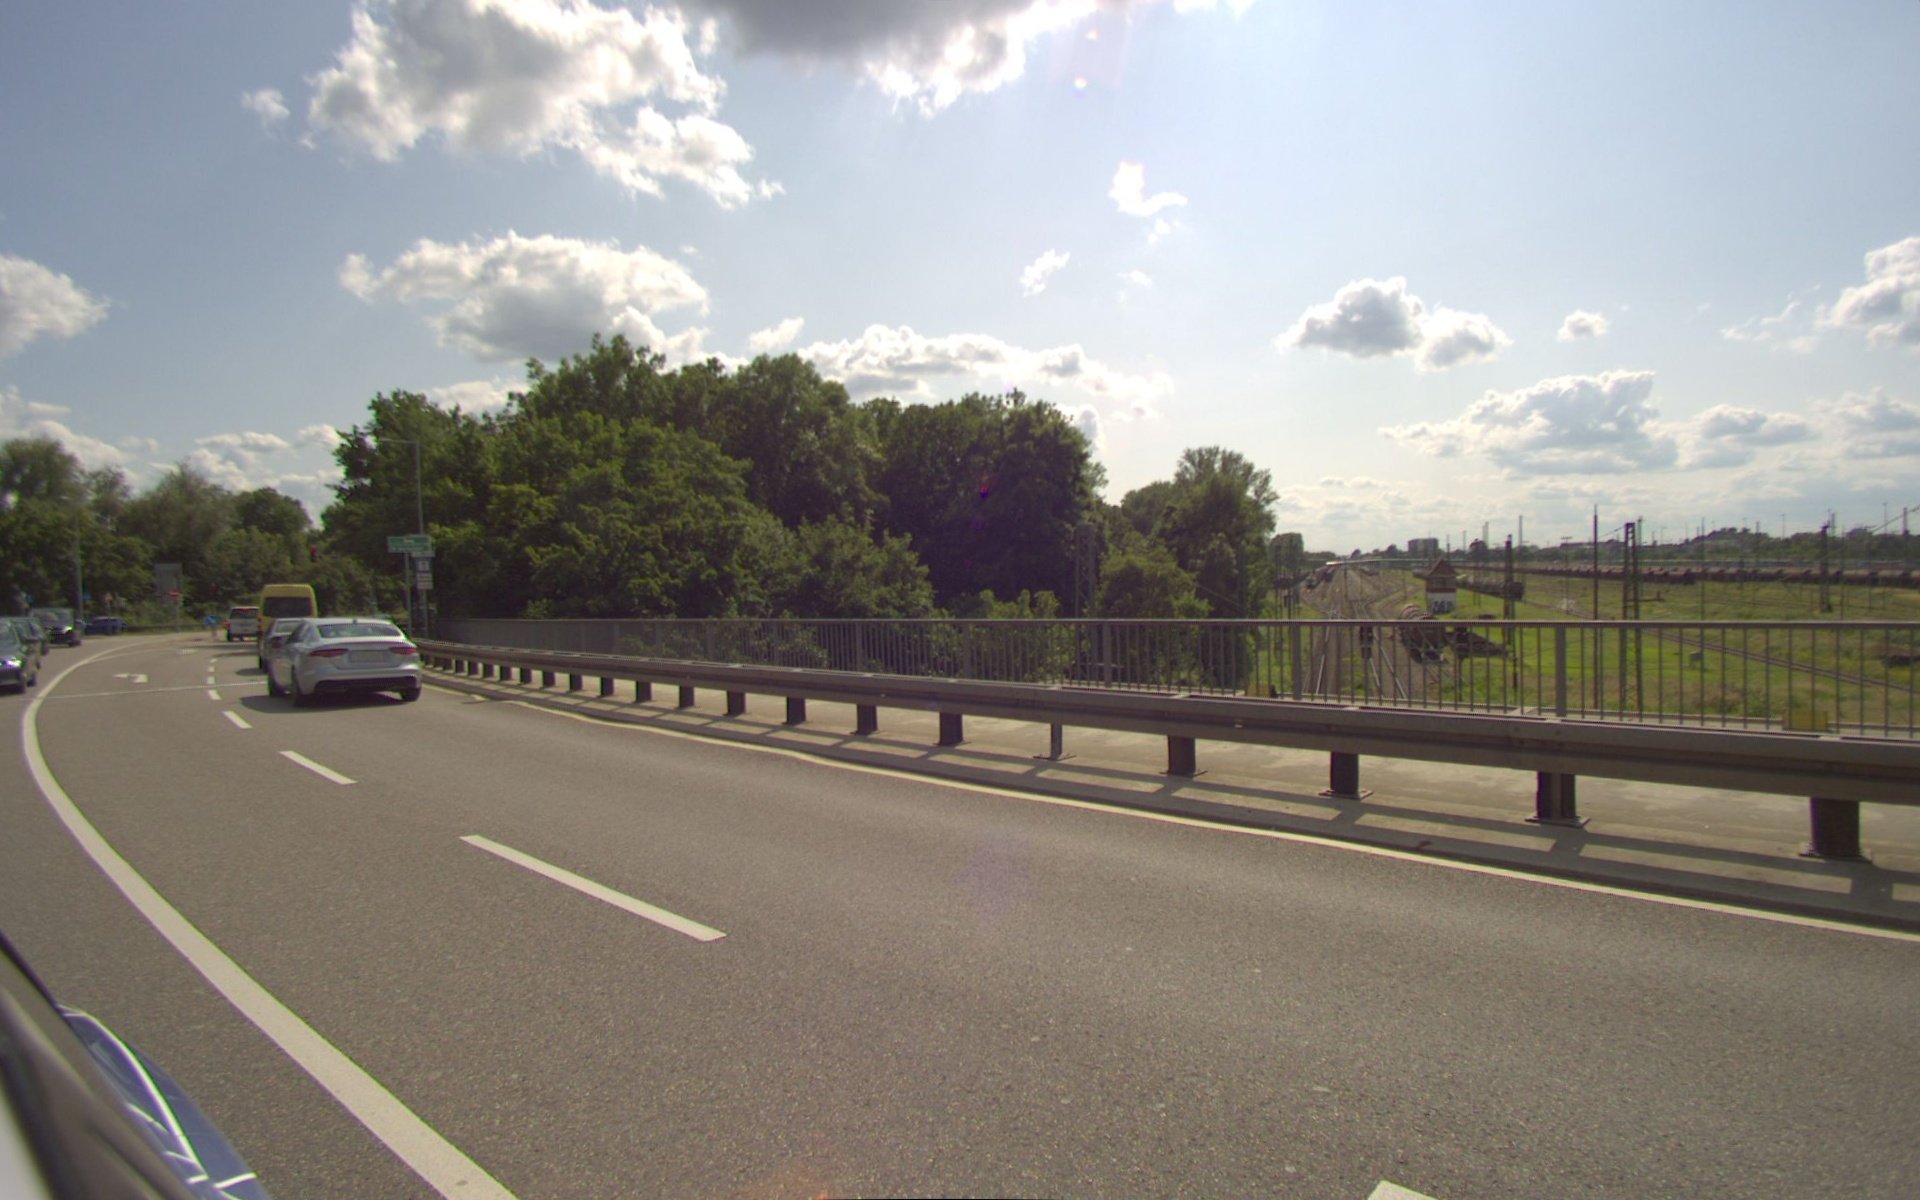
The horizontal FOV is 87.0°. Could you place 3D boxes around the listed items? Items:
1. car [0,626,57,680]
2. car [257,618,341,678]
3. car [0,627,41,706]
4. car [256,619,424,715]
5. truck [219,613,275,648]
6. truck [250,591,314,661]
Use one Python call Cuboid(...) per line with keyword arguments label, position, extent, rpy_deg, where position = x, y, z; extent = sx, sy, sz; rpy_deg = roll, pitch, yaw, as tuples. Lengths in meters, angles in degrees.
Cuboid(label="car", position=(-27.001, 1.485, 28.659), extent=(1.794, 1.347, 4.738), rpy_deg=(-3, 1, -38))
Cuboid(label="car", position=(-18.183, 1.239, 27.760), extent=(1.724, 1.460, 4.347), rpy_deg=(0, 0, -36))
Cuboid(label="car", position=(-19.551, 1.271, 19.961), extent=(1.830, 1.373, 4.008), rpy_deg=(0, 0, -39))
Cuboid(label="car", position=(-11.025, 1.069, 17.846), extent=(1.772, 1.385, 4.587), rpy_deg=(-1, 0, -41))
Cuboid(label="truck", position=(-40.940, 1.713, 58.192), extent=(1.933, 1.927, 5.387), rpy_deg=(-1, -1, -28))
Cuboid(label="truck", position=(-27.348, 1.051, 40.936), extent=(1.966, 2.641, 6.120), rpy_deg=(1, -2, -33))
